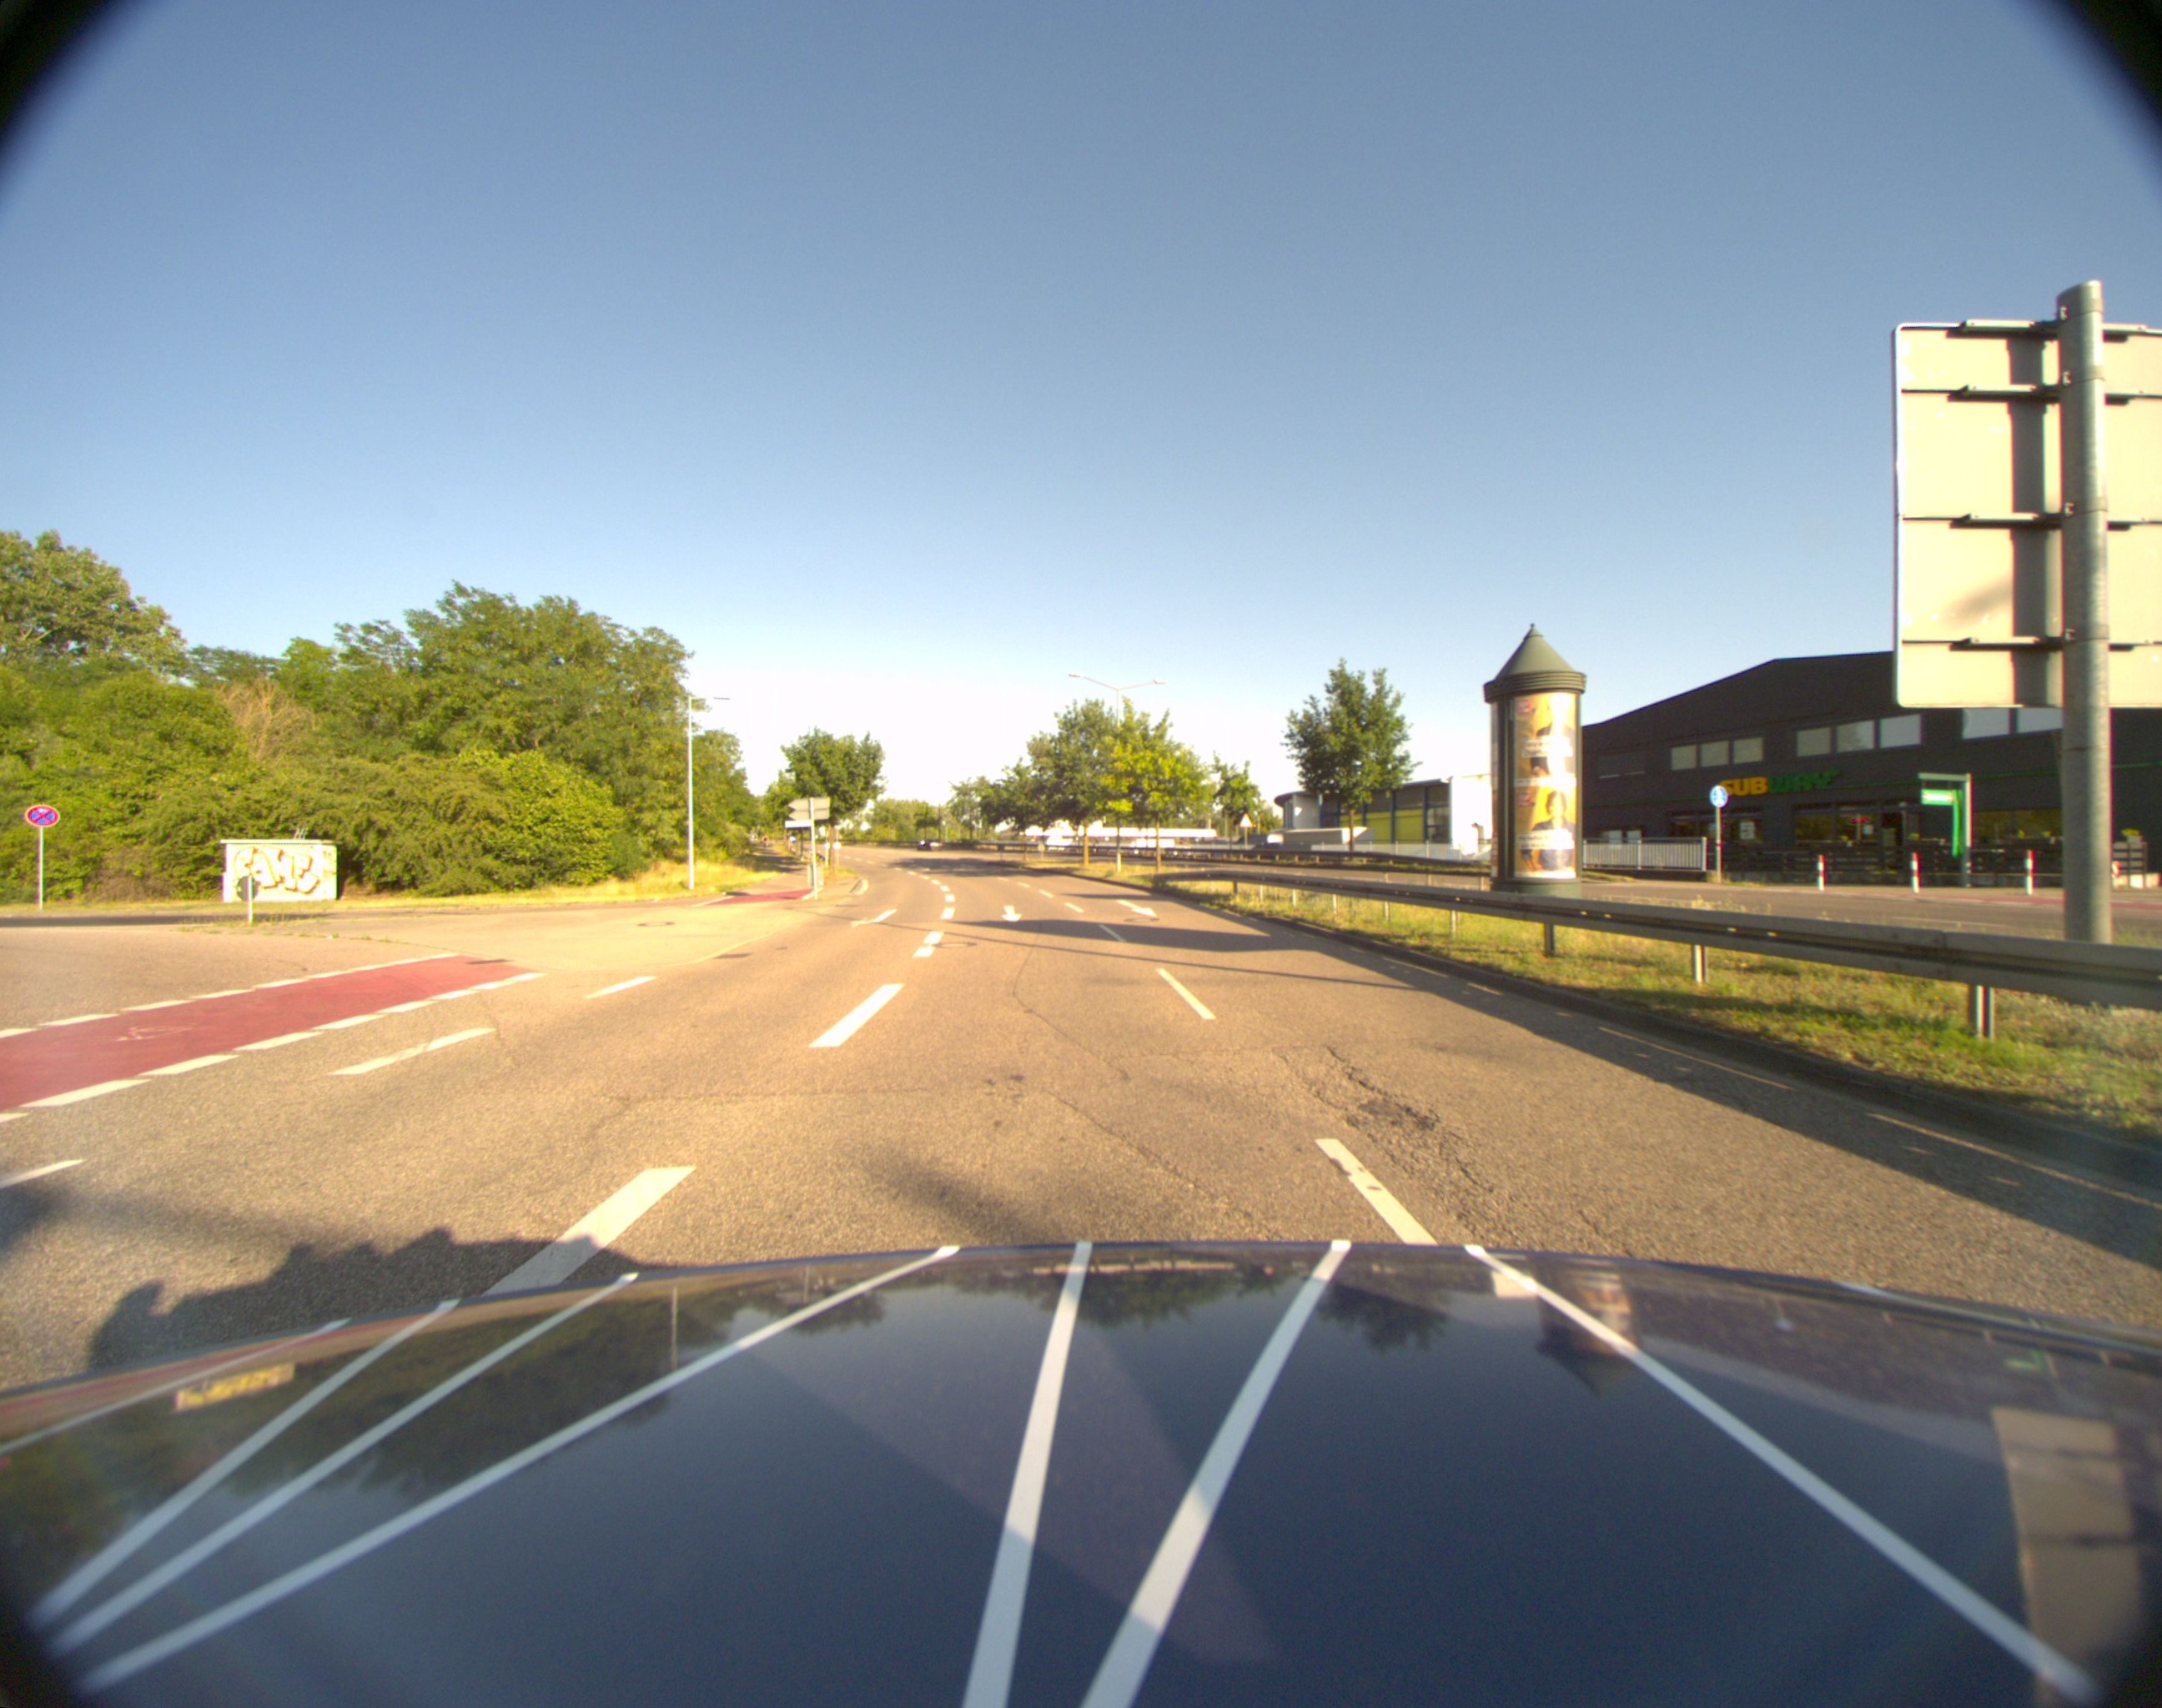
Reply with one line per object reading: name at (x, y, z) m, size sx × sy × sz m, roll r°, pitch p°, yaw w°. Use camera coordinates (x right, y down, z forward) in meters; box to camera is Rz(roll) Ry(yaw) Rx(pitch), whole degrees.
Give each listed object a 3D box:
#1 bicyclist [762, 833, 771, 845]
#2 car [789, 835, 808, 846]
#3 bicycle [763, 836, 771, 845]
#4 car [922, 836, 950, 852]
bicyclist at (-39.112, -1.882, 94.513) m, size 0.844 × 1.413 × 1.112 m, roll -3°, pitch 1°, yaw -20°
car at (-50.690, -2.354, 136.266) m, size 2.003 × 1.761 × 3.989 m, roll -3°, pitch 1°, yaw -37°
bicycle at (-39.064, -1.708, 94.541) m, size 0.783 × 1.051 × 2.492 m, roll -3°, pitch 1°, yaw -21°
car at (-16.958, -1.185, 88.871) m, size 2.003 × 1.761 × 3.991 m, roll -3°, pitch 1°, yaw -30°
